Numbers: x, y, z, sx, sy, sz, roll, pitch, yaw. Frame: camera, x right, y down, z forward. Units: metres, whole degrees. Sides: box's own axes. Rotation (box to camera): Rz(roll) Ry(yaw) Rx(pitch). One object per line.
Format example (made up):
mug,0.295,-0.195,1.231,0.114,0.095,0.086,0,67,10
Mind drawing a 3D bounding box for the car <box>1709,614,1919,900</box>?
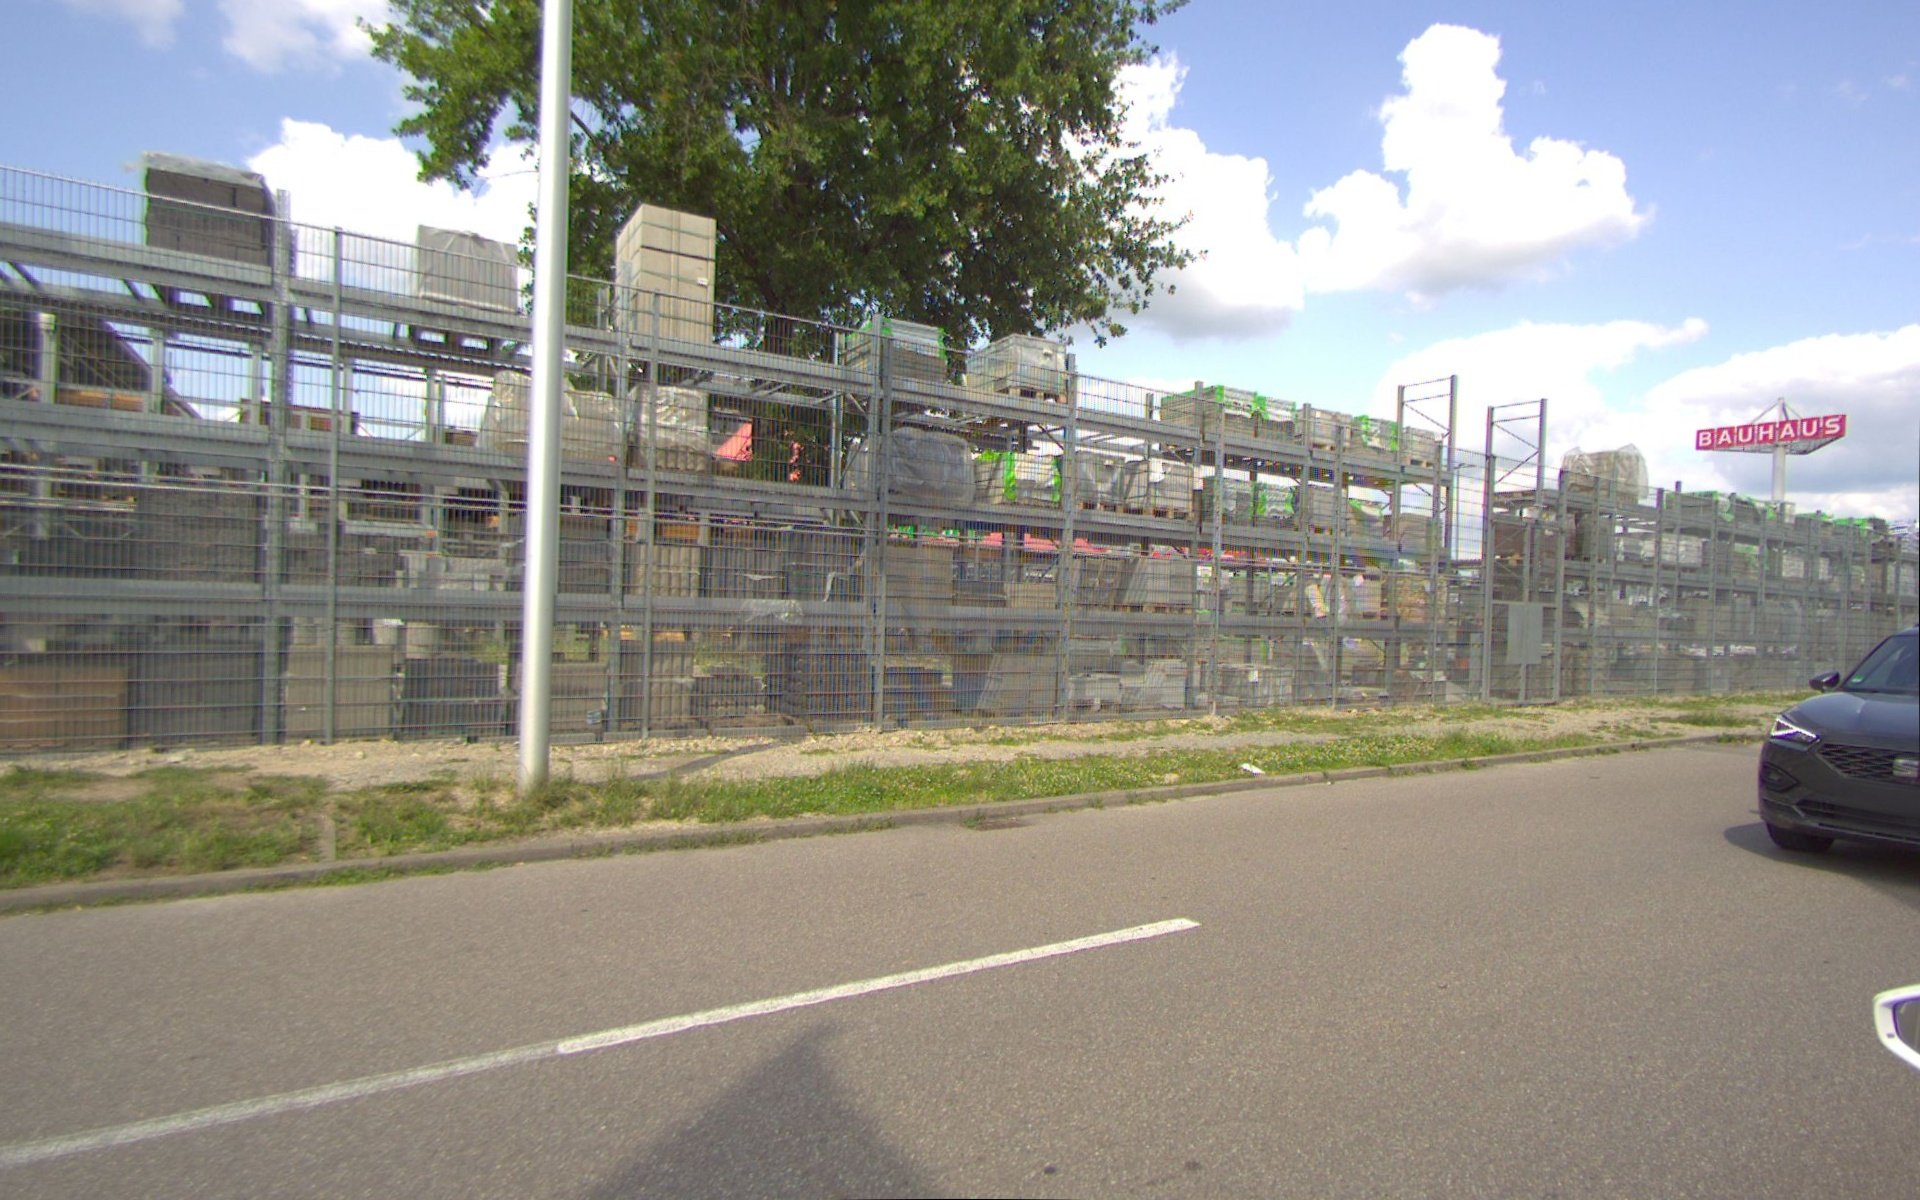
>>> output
car,7.343,0.956,7.018,4.323,1.639,1.905,1,-1,-31
